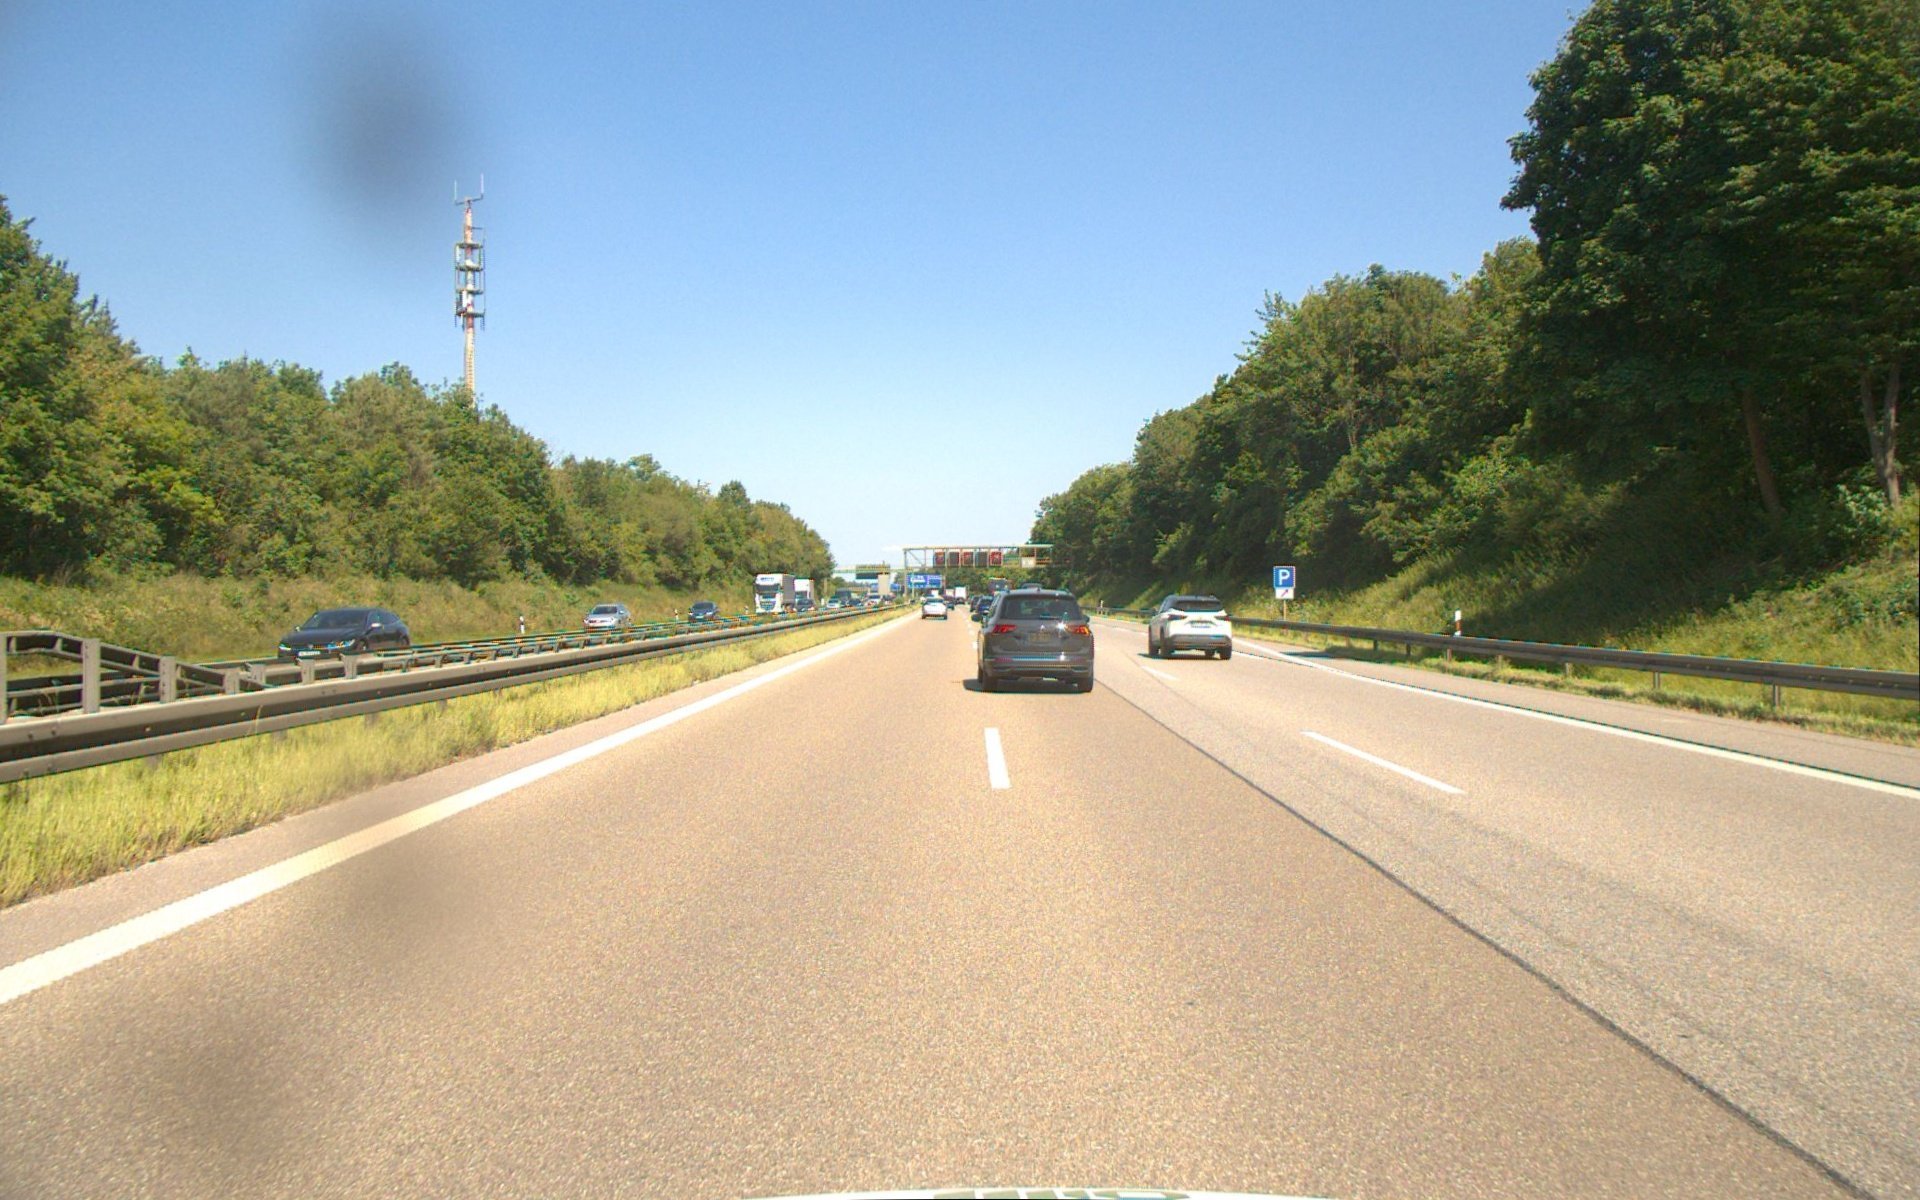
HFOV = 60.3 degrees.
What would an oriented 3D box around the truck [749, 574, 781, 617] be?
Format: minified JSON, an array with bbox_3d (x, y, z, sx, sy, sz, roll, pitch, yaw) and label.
[{"bbox_3d":[-19.346,-0.415,164.477,2.562,4.129,3.999,-3,0,-1],"label":"truck"}]

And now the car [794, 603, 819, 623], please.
[{"bbox_3d":[-11.367,0.934,122.469,1.455,1.380,4.417,-1,0,-1],"label":"car"}]

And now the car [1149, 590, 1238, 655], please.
[{"bbox_3d":[6.101,0.559,43.622,1.805,1.595,4.036,1,0,1],"label":"car"}]

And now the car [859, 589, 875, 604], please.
[{"bbox_3d":[-13.127,-0.480,233.995,1.889,2.015,5.234,-3,0,-1],"label":"car"}]

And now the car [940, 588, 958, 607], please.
[{"bbox_3d":[-1.280,-0.272,187.372,1.953,2.049,3.999,1,0,-1],"label":"car"}]

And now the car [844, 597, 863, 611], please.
[{"bbox_3d":[-11.636,0.451,180.990,1.770,1.430,4.818,-1,0,-1],"label":"car"}]

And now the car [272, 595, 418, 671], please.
[{"bbox_3d":[-14.494,0.738,39.219,1.720,1.595,4.429,-3,0,0],"label":"car"}]

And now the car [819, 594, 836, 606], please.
[{"bbox_3d":[-15.828,-0.034,197.860,1.678,1.443,4.503,-1,0,-1],"label":"car"}]

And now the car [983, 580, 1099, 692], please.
[{"bbox_3d":[1.289,0.554,27.751,1.762,1.698,4.259,1,0,1],"label":"car"}]

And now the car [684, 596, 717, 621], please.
[{"bbox_3d":[-17.659,0.588,112.901,1.563,1.595,4.368,-3,0,-1],"label":"car"}]

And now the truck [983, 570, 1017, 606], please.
[{"bbox_3d":[5.250,-1.530,219.704,3.704,4.499,14.045,0,0,-2],"label":"truck"}]

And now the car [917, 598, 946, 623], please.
[{"bbox_3d":[-1.885,0.706,110.658,1.728,1.595,4.259,1,0,1],"label":"car"}]

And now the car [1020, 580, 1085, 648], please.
[{"bbox_3d":[2.741,0.395,49.976,1.631,1.909,4.827,-1,0,0],"label":"car"}]

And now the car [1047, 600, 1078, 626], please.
[{"bbox_3d":[6.479,0.817,104.717,1.728,1.595,4.259,1,0,1],"label":"car"}]

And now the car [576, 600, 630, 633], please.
[{"bbox_3d":[-18.237,0.817,84.589,1.595,1.518,4.941,-3,0,0],"label":"car"}]

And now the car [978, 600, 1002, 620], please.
[{"bbox_3d":[2.213,0.749,123.314,1.728,1.406,4.259,1,0,1],"label":"car"}]

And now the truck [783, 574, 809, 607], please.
[{"bbox_3d":[-19.633,-1.142,198.154,2.648,3.876,3.999,-2,0,-1],"label":"truck"}]
